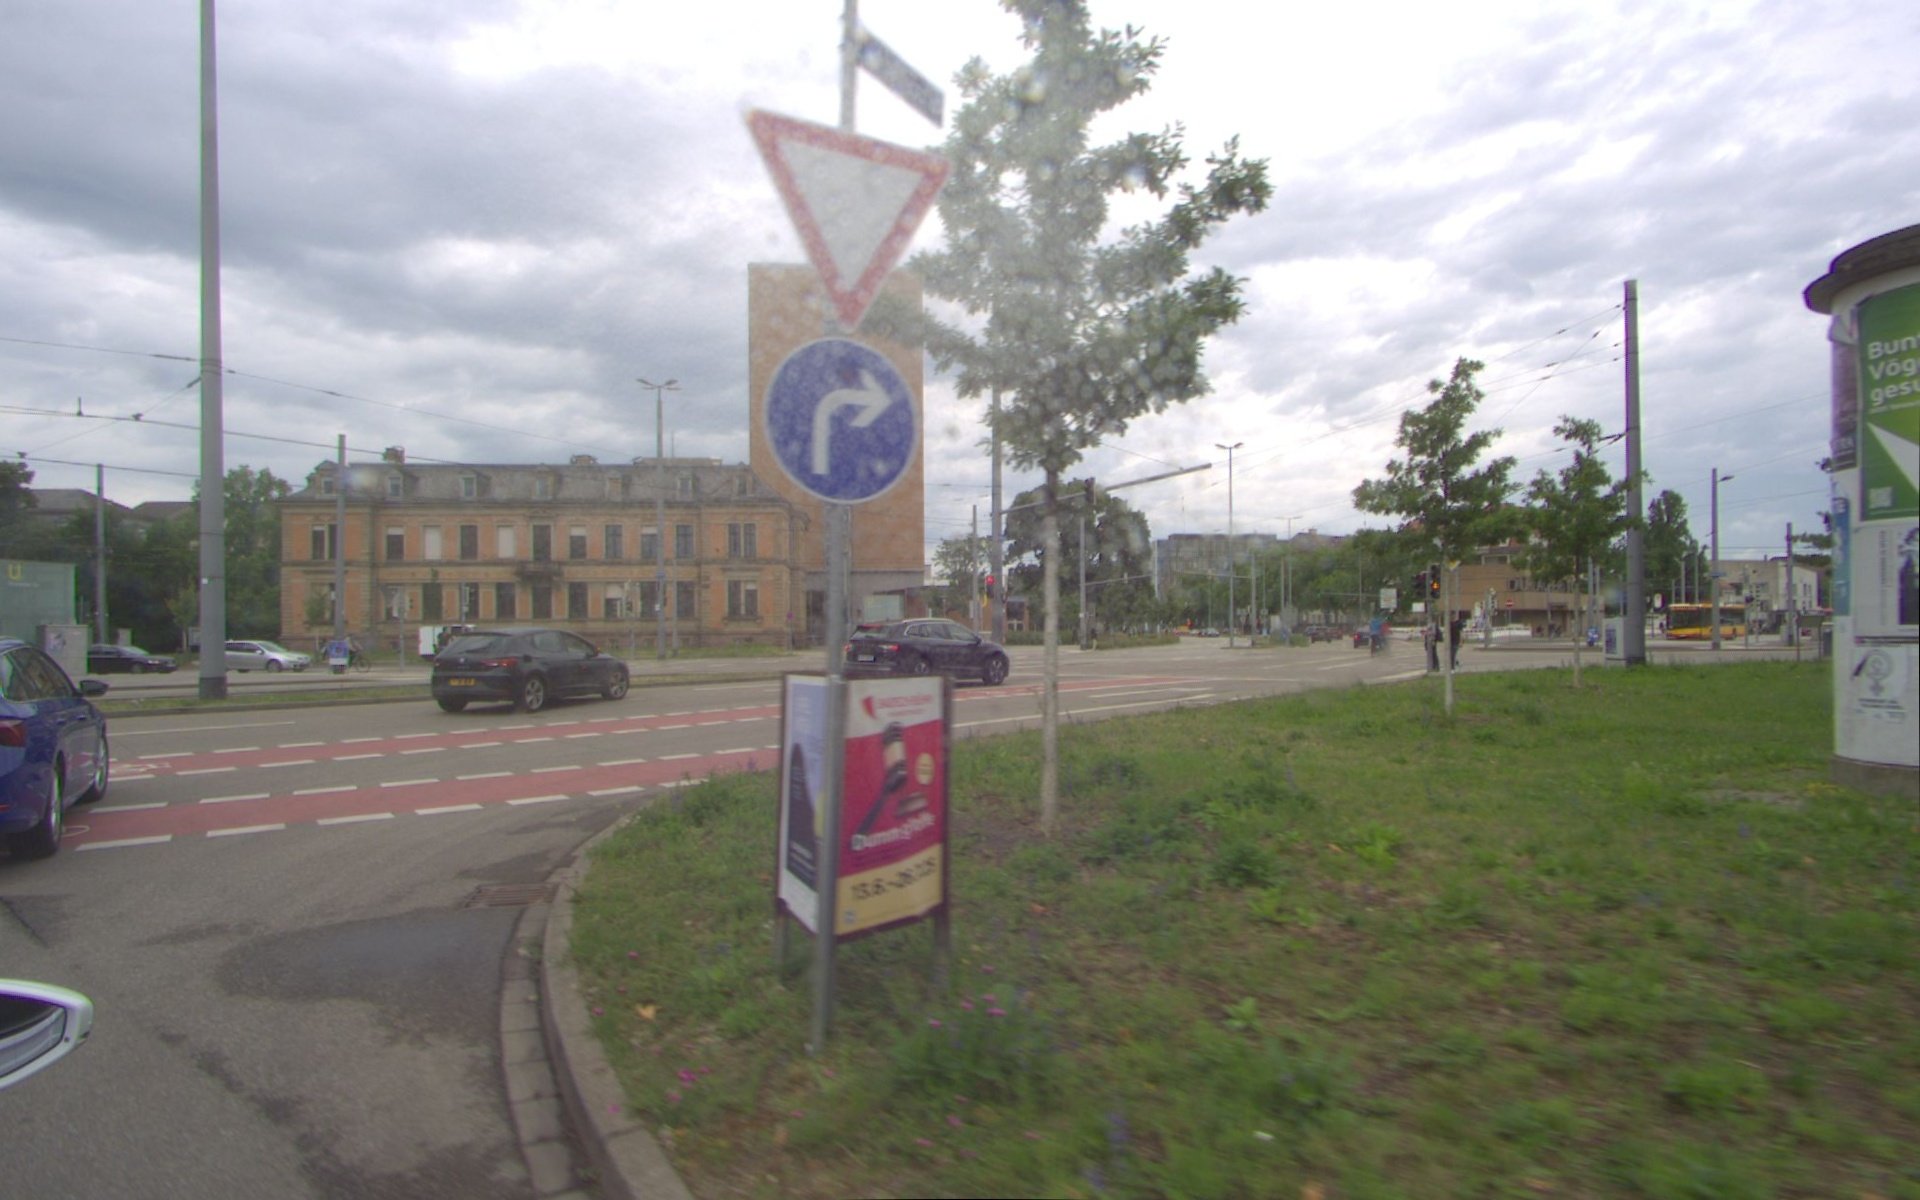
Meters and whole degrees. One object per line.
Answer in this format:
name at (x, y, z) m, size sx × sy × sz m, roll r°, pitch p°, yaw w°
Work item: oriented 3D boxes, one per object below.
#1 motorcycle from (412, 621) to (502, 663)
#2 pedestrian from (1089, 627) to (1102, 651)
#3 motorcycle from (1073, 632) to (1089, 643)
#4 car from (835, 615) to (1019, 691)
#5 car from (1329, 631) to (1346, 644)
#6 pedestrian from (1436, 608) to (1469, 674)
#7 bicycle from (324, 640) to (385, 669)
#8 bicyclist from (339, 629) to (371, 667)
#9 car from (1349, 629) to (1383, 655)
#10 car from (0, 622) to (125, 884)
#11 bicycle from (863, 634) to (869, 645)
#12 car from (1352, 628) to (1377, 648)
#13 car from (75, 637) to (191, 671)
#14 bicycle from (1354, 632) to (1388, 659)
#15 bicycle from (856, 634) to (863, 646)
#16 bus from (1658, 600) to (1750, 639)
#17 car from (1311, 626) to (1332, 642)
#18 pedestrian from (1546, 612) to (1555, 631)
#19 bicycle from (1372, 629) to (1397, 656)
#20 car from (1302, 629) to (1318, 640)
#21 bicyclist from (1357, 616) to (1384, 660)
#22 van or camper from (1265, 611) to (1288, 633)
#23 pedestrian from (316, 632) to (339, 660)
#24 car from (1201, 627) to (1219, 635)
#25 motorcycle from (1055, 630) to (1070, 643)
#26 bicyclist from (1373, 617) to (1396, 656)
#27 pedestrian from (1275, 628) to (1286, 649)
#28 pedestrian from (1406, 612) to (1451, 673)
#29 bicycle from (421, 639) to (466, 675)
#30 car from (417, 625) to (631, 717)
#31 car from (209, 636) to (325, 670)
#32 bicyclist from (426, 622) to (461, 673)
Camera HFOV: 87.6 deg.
motorcycle at (-24.934, 2.084, 49.700) m, size 3.615 × 2.039 × 1.696 m, roll 0°, pitch -1°, yaw -1°
pedestrian at (11.328, 3.249, 83.585) m, size 1.012 × 1.959 × 0.700 m, roll -1°, pitch -1°, yaw 16°
motorcycle at (12.267, 3.807, 101.455) m, size 1.723 × 1.125 × 0.508 m, roll 1°, pitch -1°, yaw -37°
car at (-0.680, 1.180, 23.595) m, size 1.763 × 1.617 × 4.473 m, roll -1°, pitch -2°, yaw 41°
car at (43.598, 4.280, 115.720) m, size 1.750 × 1.483 × 3.994 m, roll -1°, pitch -1°, yaw 19°
pedestrian at (14.248, 1.168, 28.971) m, size 0.977 × 1.867 × 0.532 m, roll 0°, pitch -1°, yaw -45°
bicycle at (-26.471, 2.386, 43.803) m, size 2.155 × 1.223 × 0.858 m, roll -1°, pitch -2°, yaw 1°
bicyclist at (-26.468, 2.086, 43.813) m, size 0.899 × 1.643 × 0.856 m, roll -1°, pitch -2°, yaw 1°
car at (28.003, 2.933, 69.210) m, size 1.965 × 1.705 × 3.995 m, roll -1°, pitch -3°, yaw 19°
car at (-7.367, 0.942, 7.166) m, size 1.763 × 1.507 × 4.436 m, roll 1°, pitch -2°, yaw -35°
bicycle at (-9.386, 3.968, 99.951) m, size 0.500 × 1.062 × 1.428 m, roll 0°, pitch -1°, yaw -2°
car at (32.324, 3.030, 79.924) m, size 1.752 × 1.483 × 3.989 m, roll 0°, pitch -1°, yaw 24°
car at (-37.824, 2.457, 45.852) m, size 4.062 × 1.467 × 1.697 m, roll 0°, pitch -1°, yaw 5°
bicycle at (17.741, 1.943, 43.165) m, size 0.857 × 1.119 × 2.288 m, roll -1°, pitch -1°, yaw 36°
bicycle at (-10.040, 3.968, 99.926) m, size 0.561 × 1.120 × 1.428 m, roll 0°, pitch -1°, yaw -2°
bus at (64.014, 1.662, 86.016) m, size 11.392 × 3.163 × 2.951 m, roll 1°, pitch -2°, yaw -35°
car at (35.264, 3.292, 97.733) m, size 1.750 × 1.483 × 3.994 m, roll -1°, pitch -1°, yaw 19°
pedestrian at (60.454, 2.233, 102.527) m, size 0.617 × 1.943 × 0.704 m, roll -1°, pitch -1°, yaw 44°
bicycle at (19.321, 1.933, 45.590) m, size 0.879 × 1.193 × 2.298 m, roll 0°, pitch -1°, yaw 19°
car at (47.937, 4.662, 137.175) m, size 1.749 × 1.483 × 3.997 m, roll 0°, pitch -1°, yaw 15°
bicyclist at (17.639, 1.625, 43.031) m, size 0.863 × 1.875 × 1.041 m, roll -1°, pitch -1°, yaw 37°
van or camper at (46.138, 3.192, 145.959) m, size 2.350 × 3.164 × 5.503 m, roll -1°, pitch -1°, yaw 9°
pedestrian at (-41.290, 2.986, 65.374) m, size 1.106 × 1.786 × 0.758 m, roll 0°, pitch -1°, yaw -12°
car at (42.745, 5.294, 171.356) m, size 1.748 × 1.483 × 4.000 m, roll 0°, pitch -2°, yaw -8°
motorcycle at (10.322, 3.685, 100.622) m, size 1.444 × 1.284 × 0.512 m, roll 0°, pitch -1°, yaw -5°
bicyclist at (19.290, 1.661, 45.515) m, size 0.870 × 1.754 × 0.893 m, roll 0°, pitch -1°, yaw 19°
pedestrian at (23.685, 2.826, 73.923) m, size 0.718 × 1.561 × 0.416 m, roll -1°, pitch -1°, yaw 29°
pedestrian at (15.094, 1.364, 32.264) m, size 1.083 × 1.931 × 0.736 m, roll 0°, pitch -1°, yaw -2°
bicycle at (-18.888, 2.096, 36.601) m, size 1.979 × 1.258 × 0.809 m, roll -4°, pitch -2°, yaw 43°
car at (-7.726, 1.200, 18.153) m, size 1.678 × 1.467 × 3.810 m, roll 0°, pitch -1°, yaw 12°
car at (-31.658, 2.395, 45.828) m, size 4.080 × 1.472 × 1.762 m, roll -1°, pitch -1°, yaw 1°
bicyclist at (-18.856, 1.721, 36.575) m, size 1.018 × 1.822 × 0.809 m, roll -2°, pitch 0°, yaw 43°
